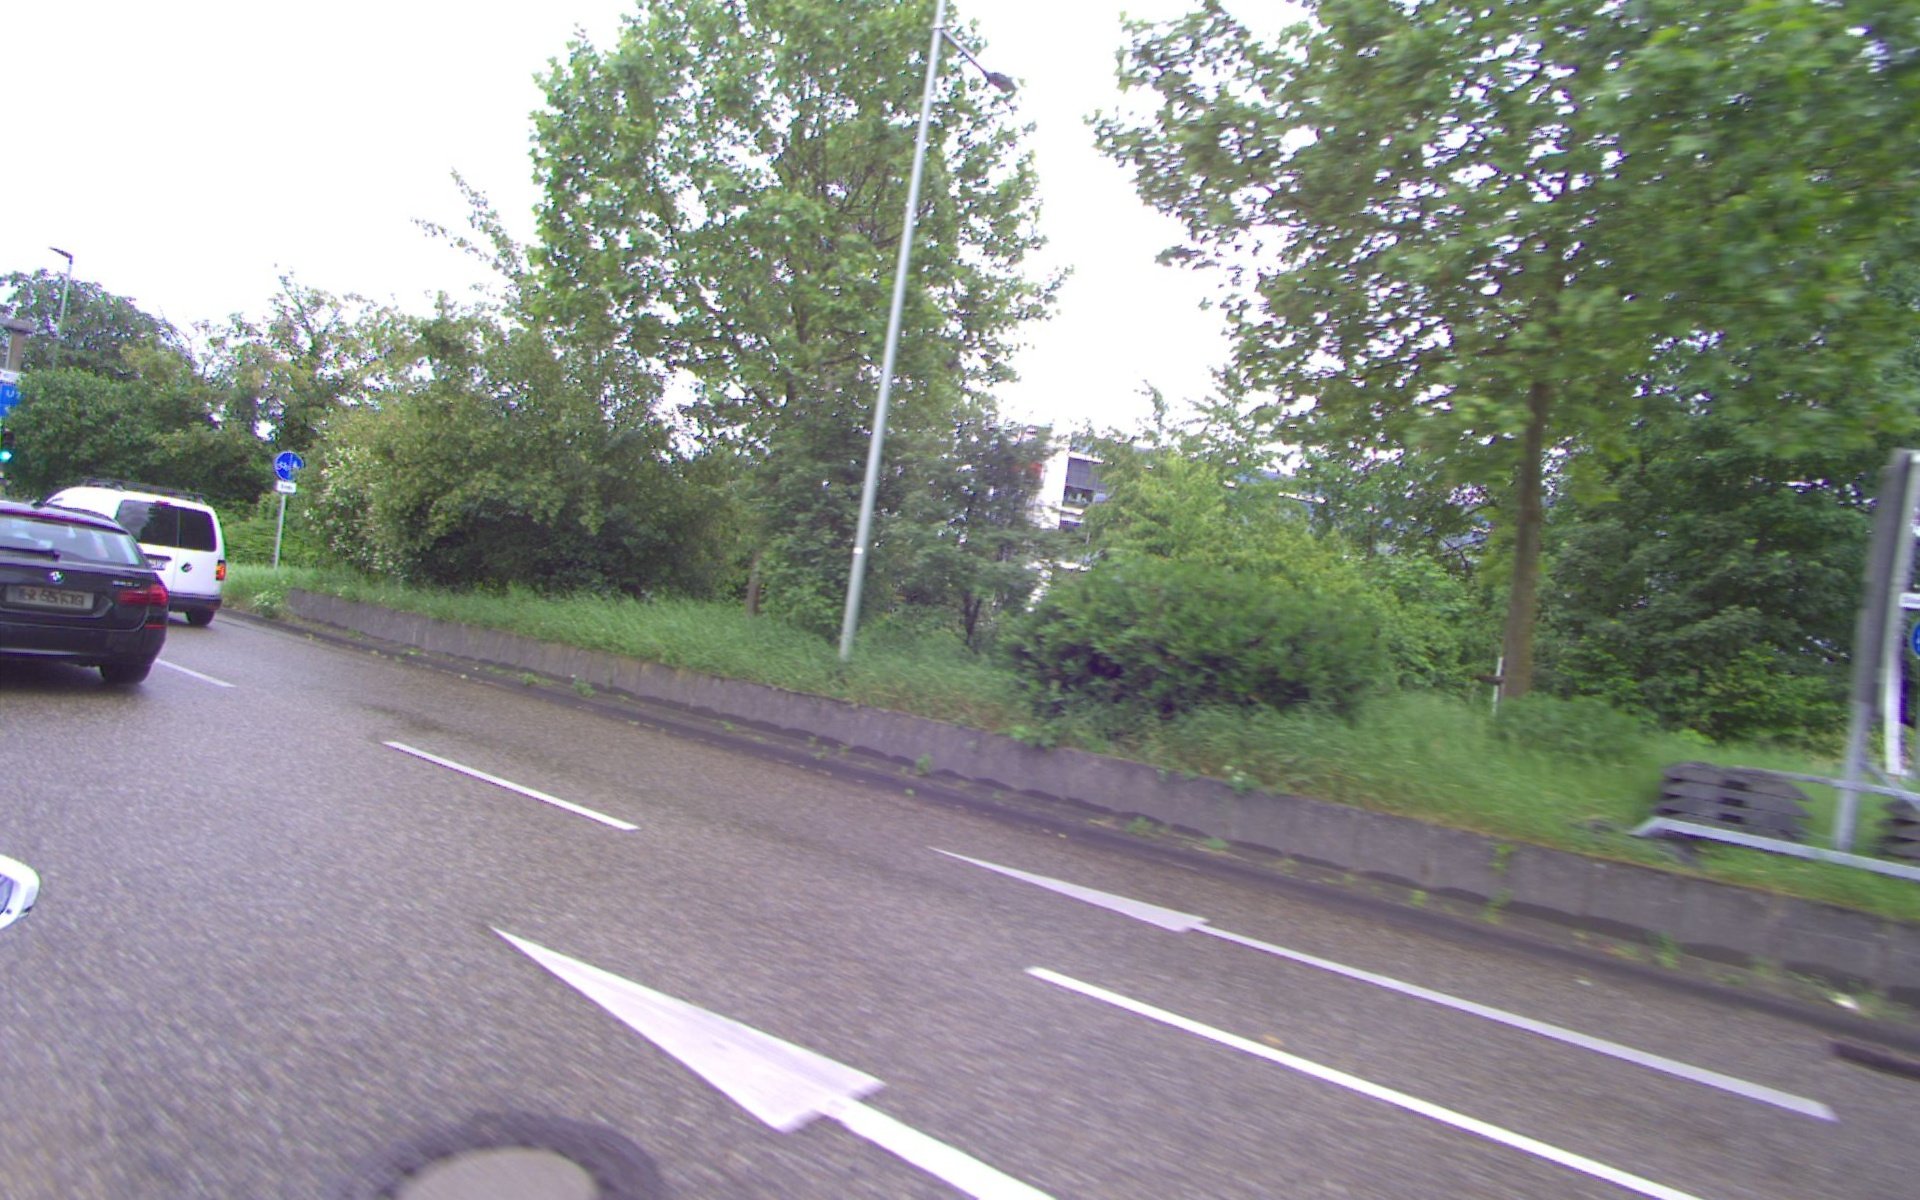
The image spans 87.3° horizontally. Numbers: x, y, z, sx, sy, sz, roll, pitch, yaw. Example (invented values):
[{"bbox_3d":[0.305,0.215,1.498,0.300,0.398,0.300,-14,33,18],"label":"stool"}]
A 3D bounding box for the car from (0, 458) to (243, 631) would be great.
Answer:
[{"bbox_3d":[-12.588,-0.845,14.877,3.741,1.900,1.768,10,0,32],"label":"car"}]

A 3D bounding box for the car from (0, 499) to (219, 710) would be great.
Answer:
[{"bbox_3d":[-8.448,-0.149,8.710,3.936,1.456,1.904,7,-4,34],"label":"car"}]
